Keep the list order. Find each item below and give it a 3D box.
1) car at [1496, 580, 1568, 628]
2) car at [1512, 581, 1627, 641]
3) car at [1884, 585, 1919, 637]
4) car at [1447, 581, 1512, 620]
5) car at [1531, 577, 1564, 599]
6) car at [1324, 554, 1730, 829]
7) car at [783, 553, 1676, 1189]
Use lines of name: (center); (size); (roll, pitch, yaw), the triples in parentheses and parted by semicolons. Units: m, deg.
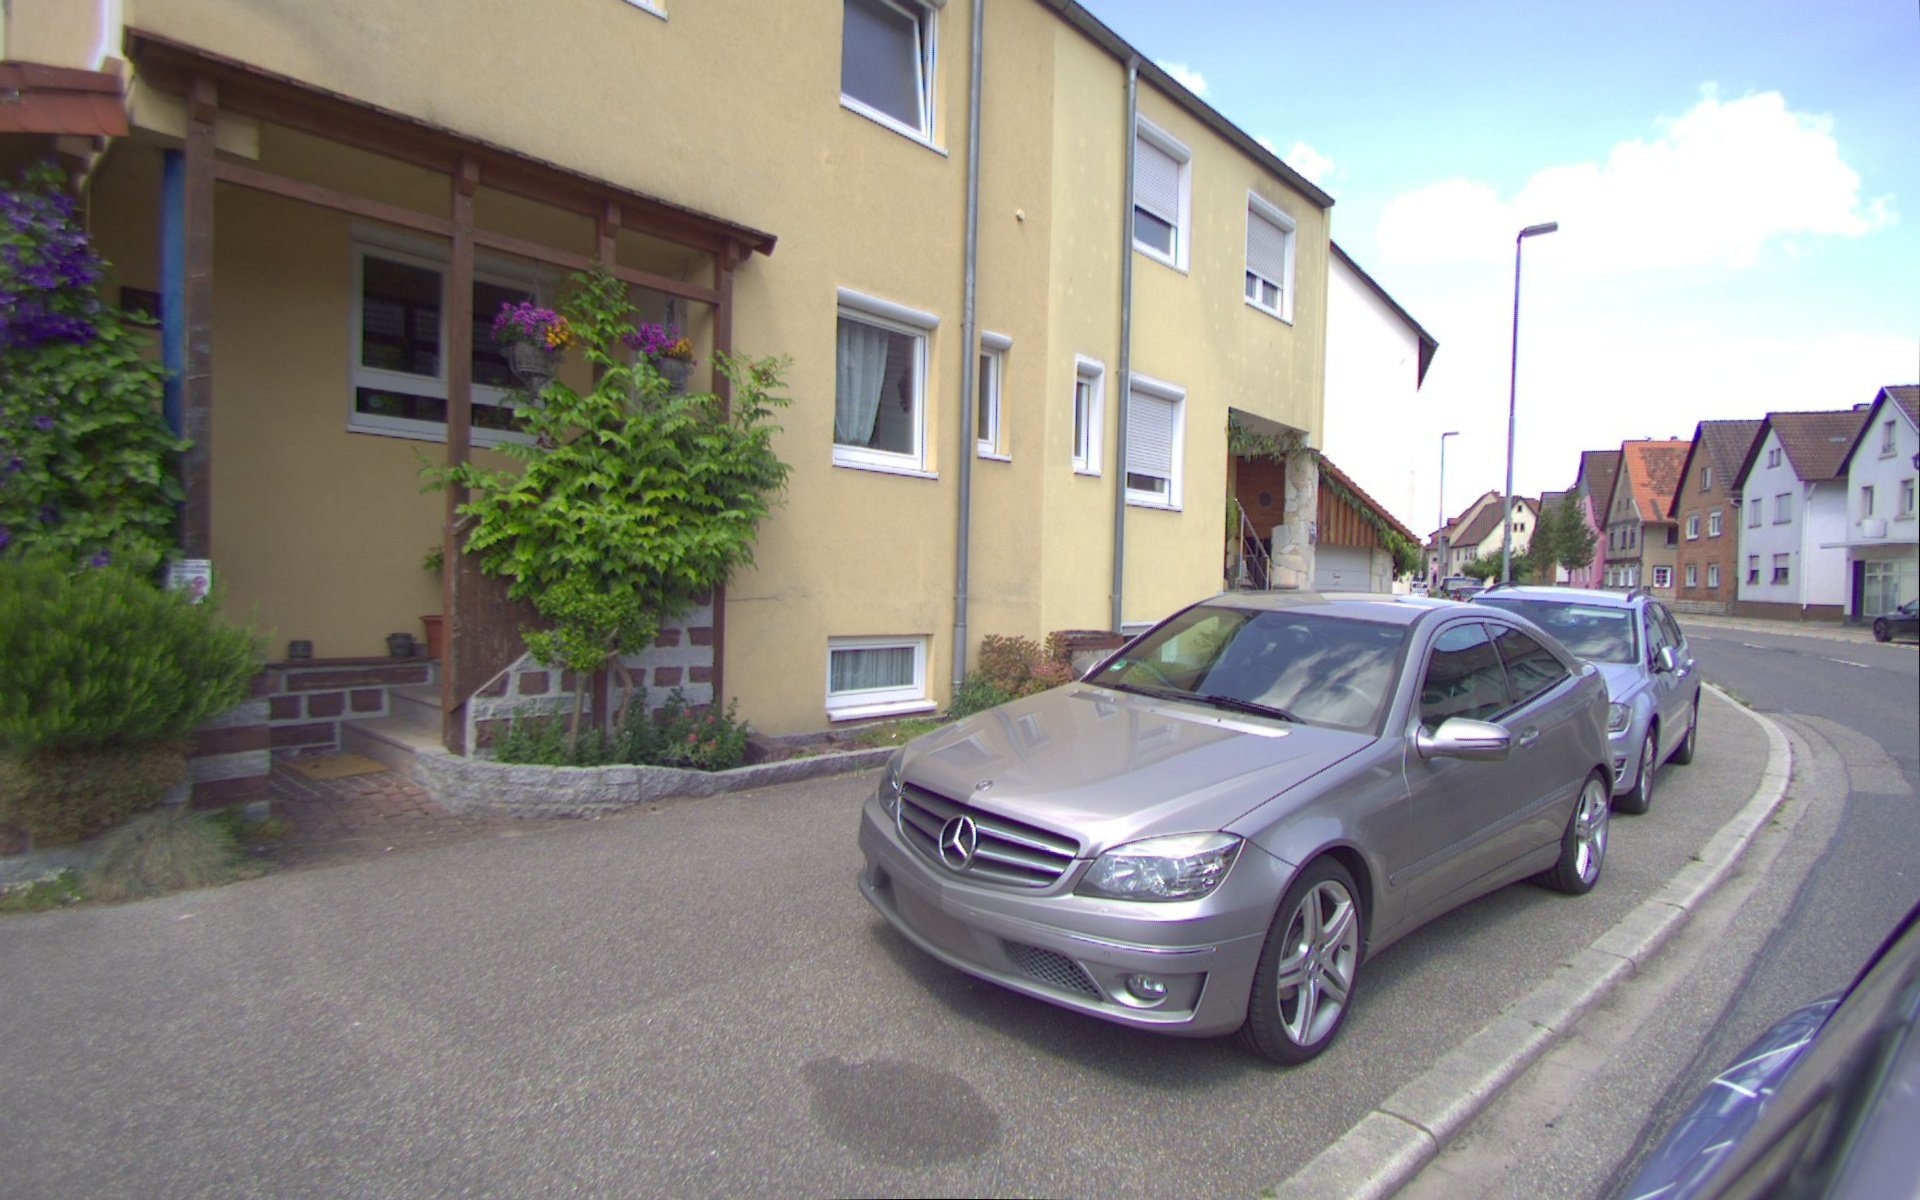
car: (20.092, 0.149, 35.677); (1.754, 1.549, 3.967); (1, -1, 23)
car: (16.886, 0.238, 28.251); (1.704, 1.402, 3.981); (2, 3, 16)
car: (27.501, 0.315, 27.717); (1.789, 1.438, 4.516); (0, 0, 22)
car: (23.167, -0.011, 45.235); (1.641, 1.668, 3.985); (0, 1, 13)
car: (43.265, -0.887, 74.573); (1.665, 1.549, 3.474); (0, 2, 22)
car: (4.771, 0.492, 8.189); (1.885, 1.548, 4.269); (5, 4, 42)
car: (1.554, 0.549, 4.485); (4.351, 1.416, 1.773); (-2, 6, -44)
